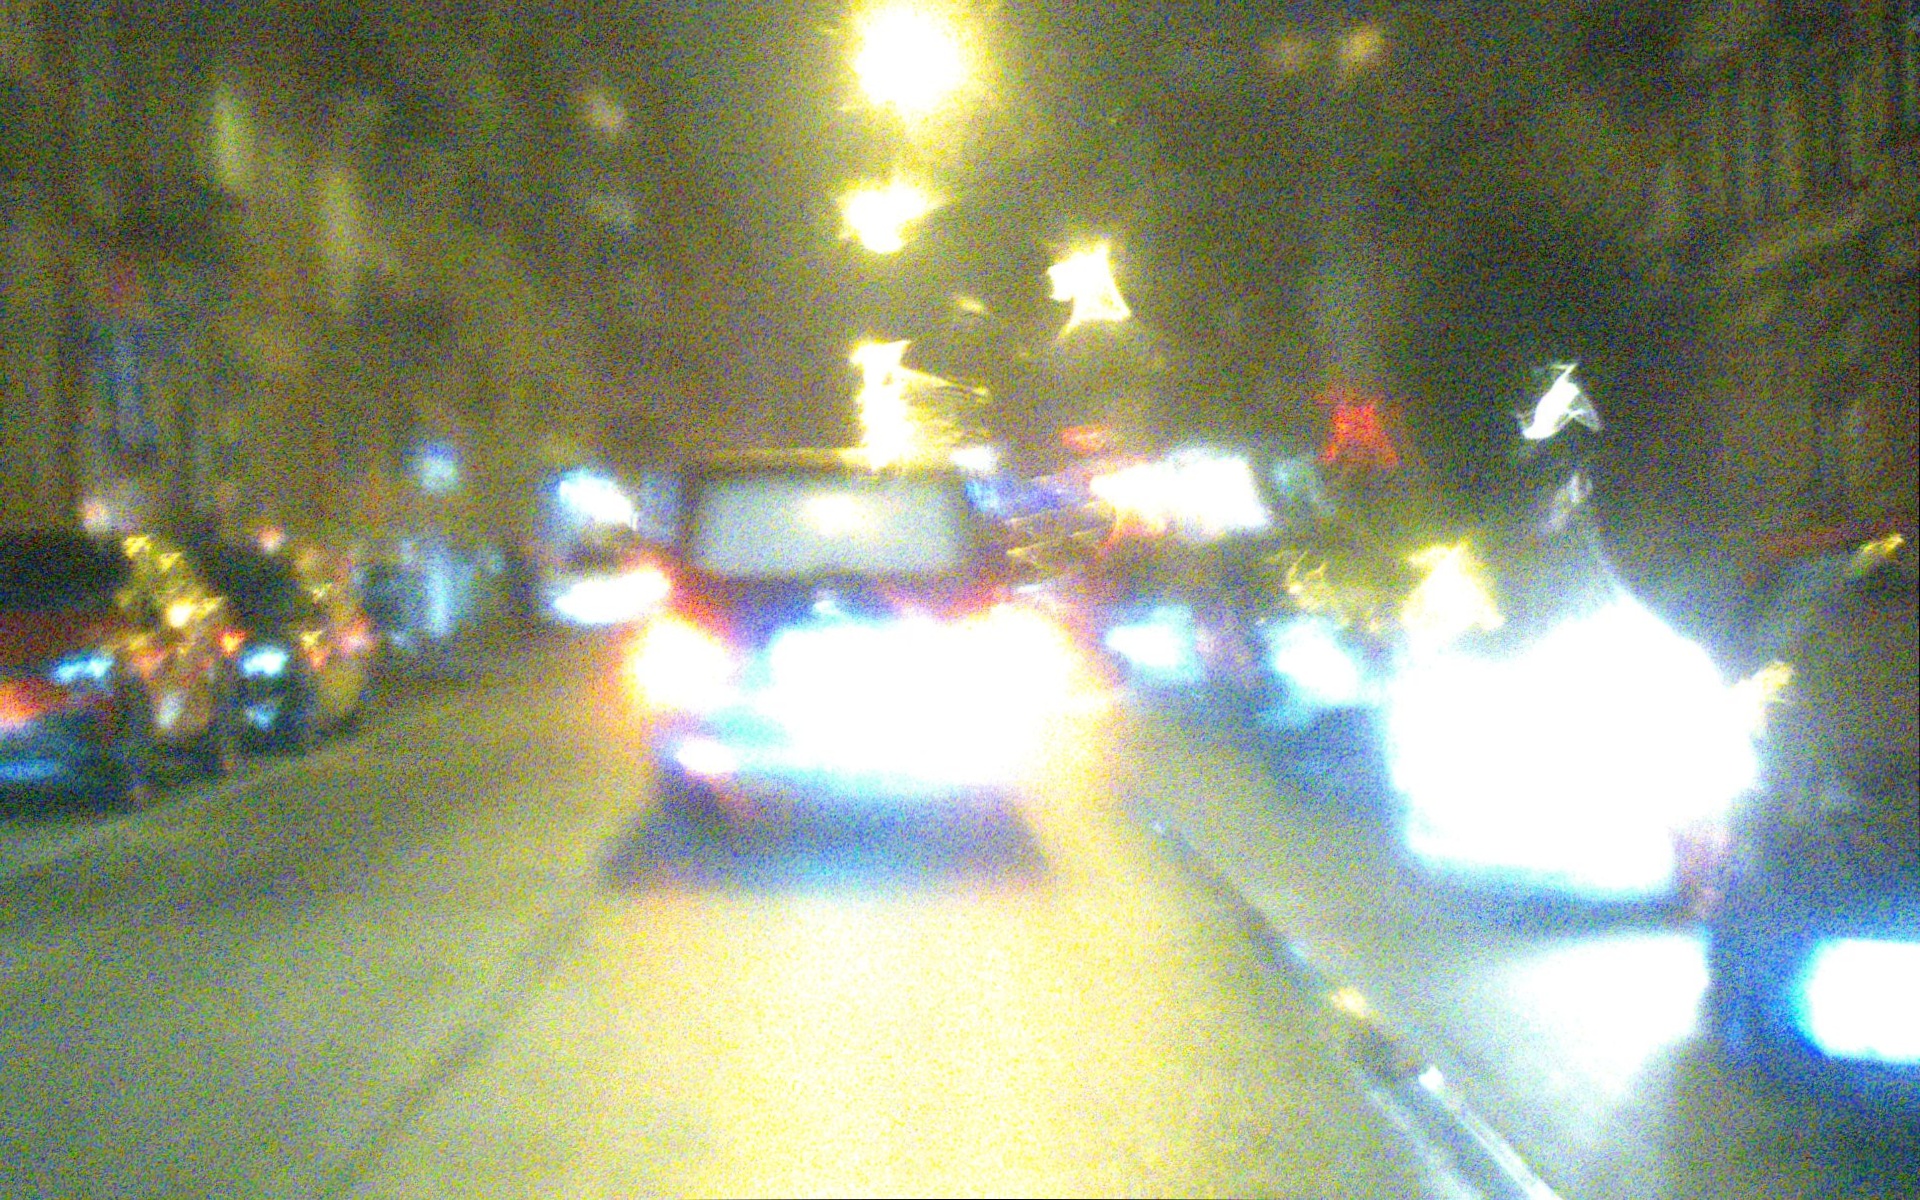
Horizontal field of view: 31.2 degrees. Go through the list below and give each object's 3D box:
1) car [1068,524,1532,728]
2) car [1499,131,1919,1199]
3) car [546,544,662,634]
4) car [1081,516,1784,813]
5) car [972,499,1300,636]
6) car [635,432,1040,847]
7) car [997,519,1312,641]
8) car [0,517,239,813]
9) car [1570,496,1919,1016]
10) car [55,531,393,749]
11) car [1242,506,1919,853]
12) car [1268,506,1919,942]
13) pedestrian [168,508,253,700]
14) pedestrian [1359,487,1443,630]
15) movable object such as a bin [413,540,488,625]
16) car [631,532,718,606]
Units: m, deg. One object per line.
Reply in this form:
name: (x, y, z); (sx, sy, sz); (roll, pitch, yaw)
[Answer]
car: (2.777, 0.174, 27.653); (3.674, 1.455, 1.603); (-3, 1, -42)
car: (3.712, 0.116, 8.399); (4.711, 2.240, 1.946); (-2, 1, -37)
car: (-6.053, -0.213, 58.782); (1.587, 1.477, 3.793); (0, 1, 0)
car: (2.872, 0.327, 20.573); (3.988, 1.547, 1.804); (-2, 1, -36)
car: (2.768, -0.546, 53.679); (4.784, 2.042, 2.067); (-1, 2, -31)
car: (-0.636, 0.184, 18.933); (1.993, 2.043, 4.000); (0, 0, -1)
car: (2.716, -0.286, 47.940); (3.986, 1.487, 1.735); (-3, 1, -26)
car: (-5.411, 0.293, 20.140); (1.603, 1.547, 4.026); (1, 1, -1)
car: (3.839, 0.415, 11.625); (3.390, 1.536, 1.577); (-2, 1, -37)
car: (-5.384, 0.231, 25.657); (1.686, 1.450, 4.316); (1, 1, -1)
car: (3.620, 0.331, 17.742); (3.988, 1.547, 1.999); (-2, 1, -38)
car: (3.215, 0.411, 13.997); (3.641, 1.536, 1.560); (-2, 1, -31)
pedestrian: (-7.218, 0.031, 33.128); (0.591, 1.814, 0.795); (2, 1, -1)
pedestrian: (5.892, -0.561, 45.978); (0.868, 1.849, 0.993); (-3, 1, -3)
movable object such as a bin: (-8.630, -0.307, 58.284); (1.048, 1.394, 1.158); (1, 1, 2)
car: (-6.169, -0.687, 74.380); (1.812, 1.552, 4.077); (0, 1, -4)
